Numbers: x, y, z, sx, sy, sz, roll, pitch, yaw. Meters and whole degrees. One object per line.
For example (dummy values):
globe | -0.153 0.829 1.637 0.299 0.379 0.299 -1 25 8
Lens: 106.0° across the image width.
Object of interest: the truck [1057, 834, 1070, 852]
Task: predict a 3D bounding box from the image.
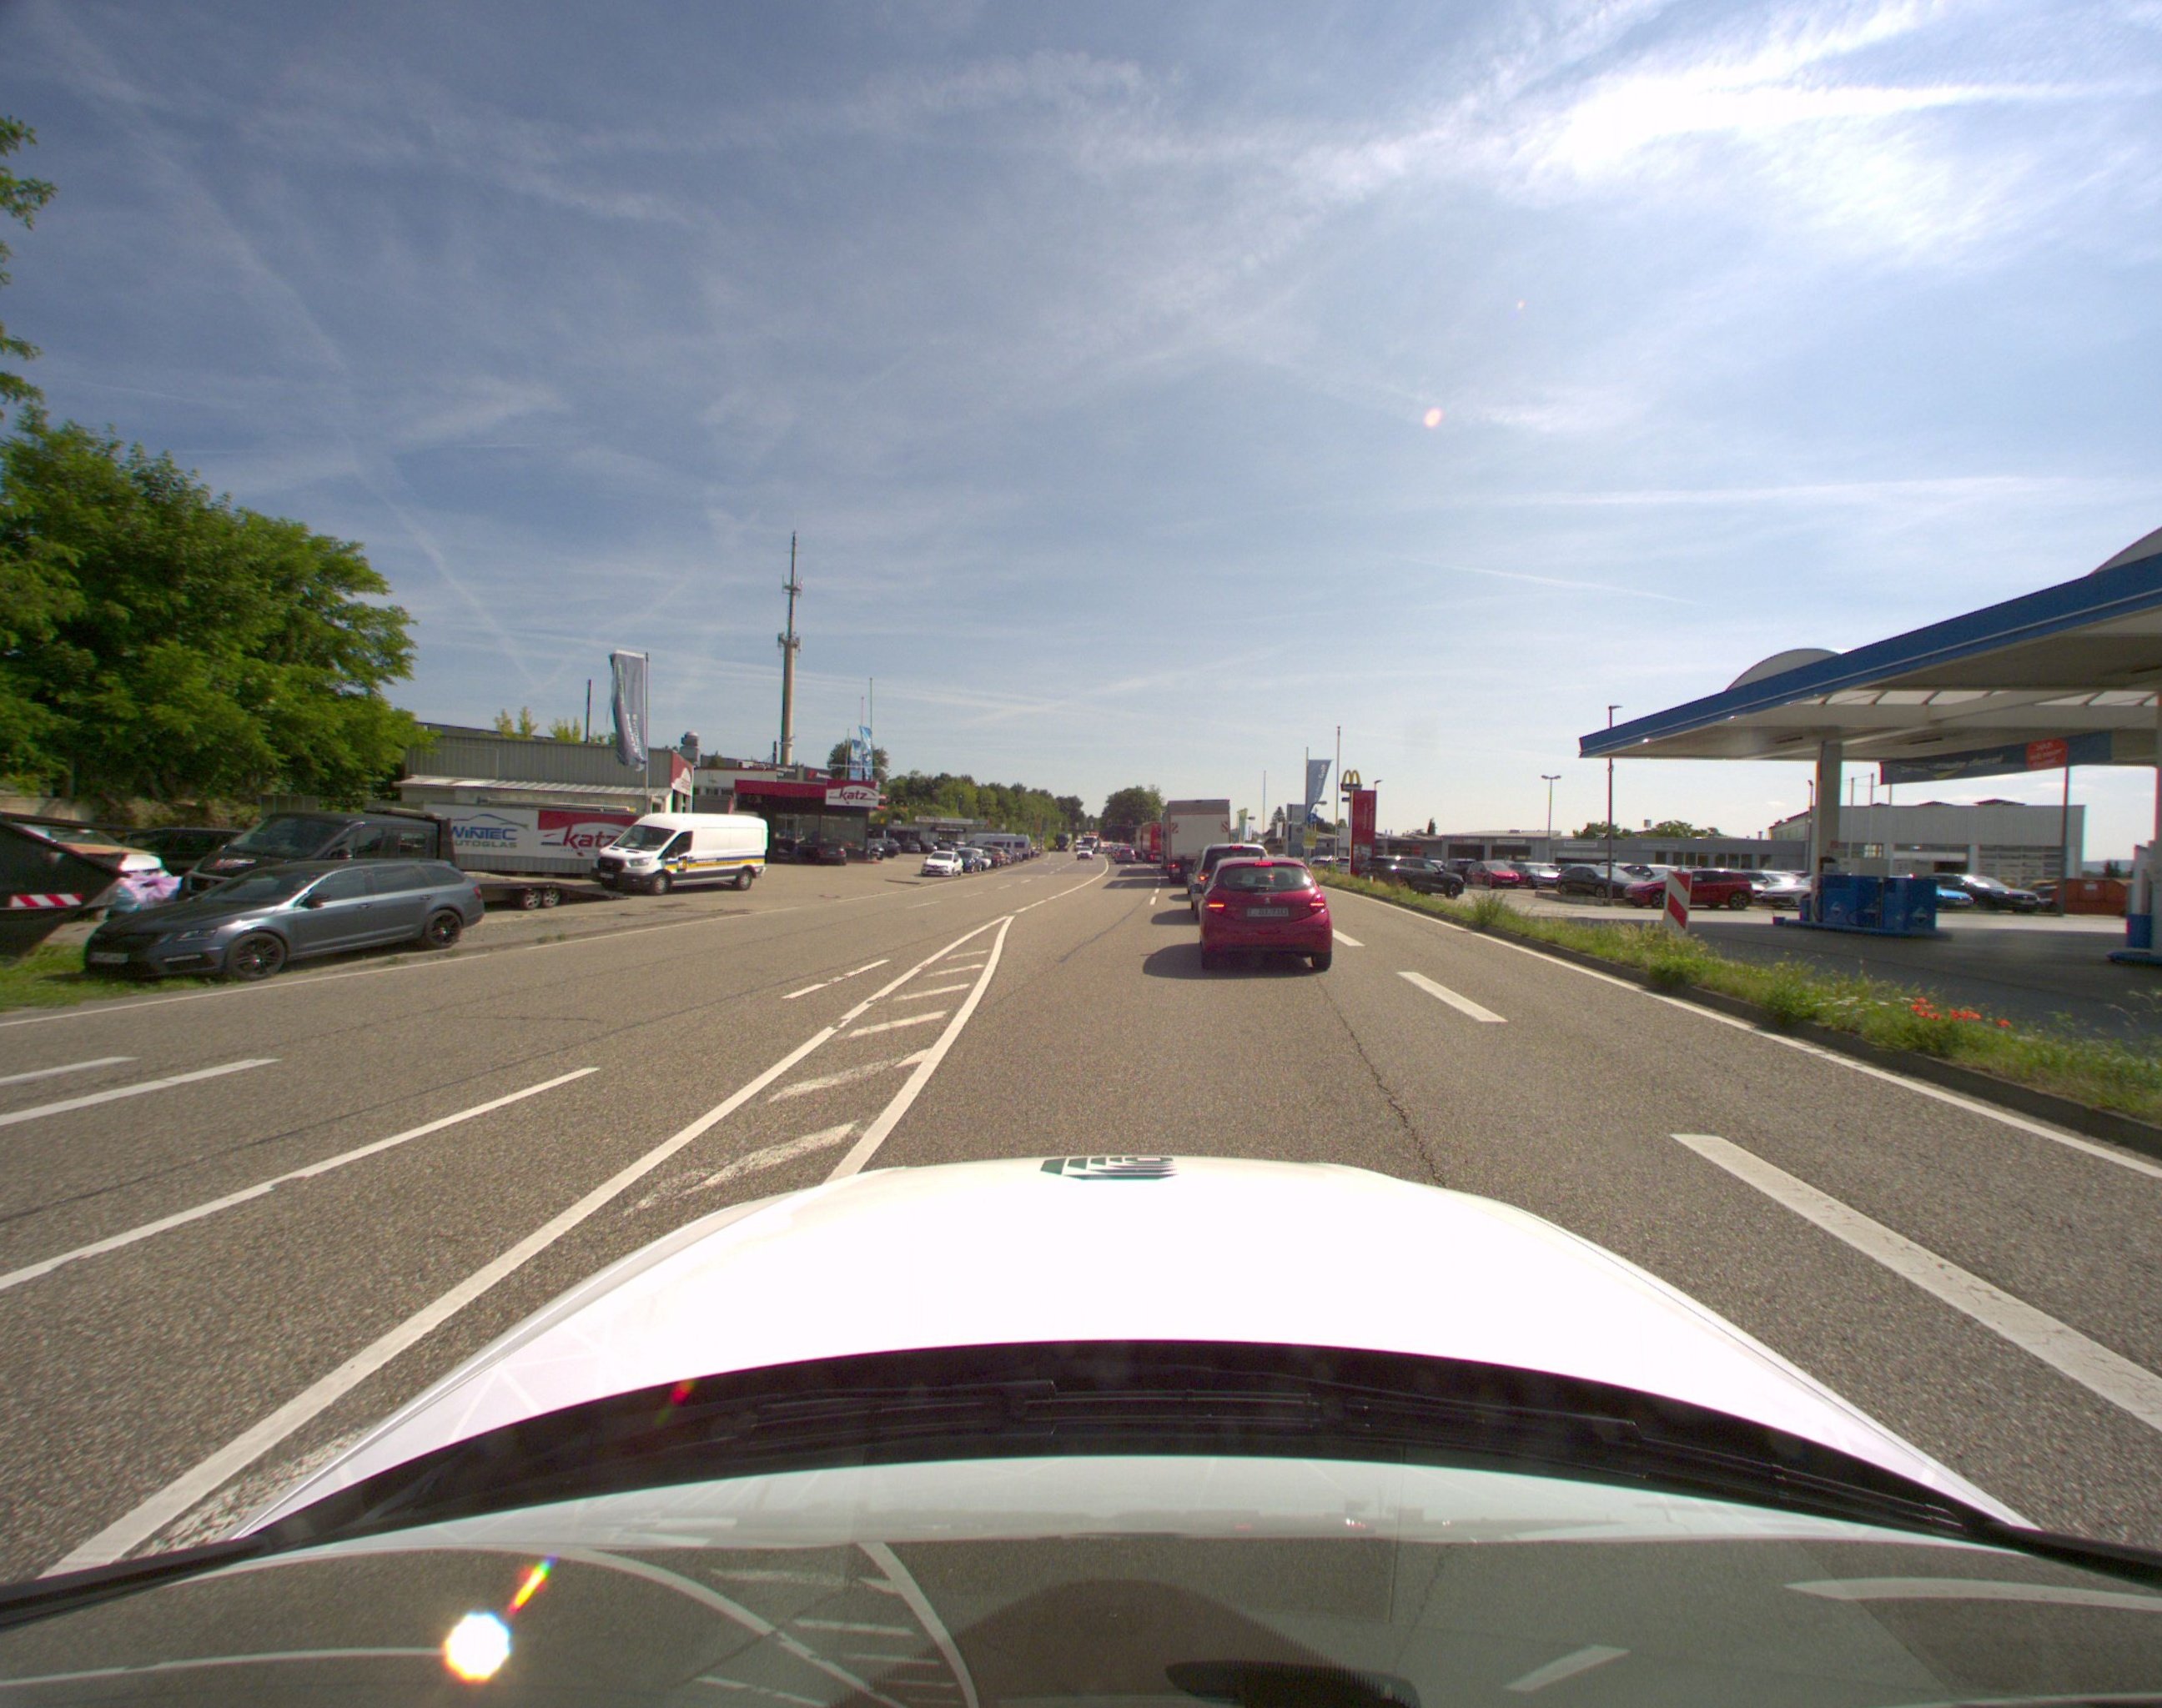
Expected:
truck | -3.794 -2.321 174.778 2.806 3.786 6.984 -1 1 -2

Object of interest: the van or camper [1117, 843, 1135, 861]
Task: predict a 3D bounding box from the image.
van or camper | 4.997 -0.258 91.396 1.846 1.905 3.786 1 1 1

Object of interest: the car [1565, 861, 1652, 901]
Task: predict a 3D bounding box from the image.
car | 23.280 1.155 36.105 1.606 1.594 3.866 -1 0 5

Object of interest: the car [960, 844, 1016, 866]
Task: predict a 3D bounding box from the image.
car | -7.945 0.062 69.740 4.445 1.484 1.772 4 1 0

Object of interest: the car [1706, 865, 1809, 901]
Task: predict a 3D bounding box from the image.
car | 30.100 1.235 36.395 1.606 1.443 3.866 -1 0 5

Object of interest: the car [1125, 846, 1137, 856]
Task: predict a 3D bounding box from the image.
car | 8.014 -0.492 130.973 1.721 1.519 3.313 2 0 1

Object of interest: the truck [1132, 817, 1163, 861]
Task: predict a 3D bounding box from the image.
truck | 8.418 -1.883 105.720 3.051 5.220 17.014 1 1 2

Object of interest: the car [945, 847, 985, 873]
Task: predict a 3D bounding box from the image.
car | -7.665 0.378 54.111 1.771 1.494 3.786 5 1 4

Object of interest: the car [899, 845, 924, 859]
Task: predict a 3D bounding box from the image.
car | -19.985 -0.256 95.879 1.775 1.588 3.791 0 1 -31

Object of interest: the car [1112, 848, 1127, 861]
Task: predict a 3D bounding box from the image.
car | 4.730 0.034 99.955 1.721 1.519 3.313 1 0 1

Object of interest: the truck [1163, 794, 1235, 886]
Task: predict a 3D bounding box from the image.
truck | 5.503 -0.647 39.759 2.865 3.810 11.158 1 1 5

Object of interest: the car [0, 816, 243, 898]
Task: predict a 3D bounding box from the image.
car | -19.050 0.049 15.676 3.665 1.469 1.731 1 0 -15

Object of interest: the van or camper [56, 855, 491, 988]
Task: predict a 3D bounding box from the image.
van or camper | -11.426 0.816 12.096 1.631 1.524 4.477 2 0 7

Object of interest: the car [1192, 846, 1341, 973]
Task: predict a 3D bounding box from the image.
car | 2.564 0.685 11.974 1.791 1.572 3.722 -1 0 8

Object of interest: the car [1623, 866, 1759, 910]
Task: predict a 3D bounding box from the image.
car | 23.717 1.285 31.799 3.880 1.572 1.811 1 0 9

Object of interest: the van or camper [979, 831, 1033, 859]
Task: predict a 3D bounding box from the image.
van or camper | -7.625 -0.938 83.269 5.224 2.731 2.212 1 1 2

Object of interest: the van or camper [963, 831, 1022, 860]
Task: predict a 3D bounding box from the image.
van or camper | -9.280 -0.911 85.732 5.870 2.873 2.291 1 1 1

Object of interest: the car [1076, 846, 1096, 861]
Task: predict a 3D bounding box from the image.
car | 0.623 -0.059 95.970 1.926 1.674 4.005 -1 0 5

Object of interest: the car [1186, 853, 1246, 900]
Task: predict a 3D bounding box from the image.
car | 4.529 0.691 27.821 1.727 1.428 4.231 1 0 5

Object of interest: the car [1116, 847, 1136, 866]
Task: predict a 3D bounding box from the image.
car | 4.182 0.217 75.289 1.782 1.638 3.508 0 0 5

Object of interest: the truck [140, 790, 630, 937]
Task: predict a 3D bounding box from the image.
truck | -14.338 0.127 18.255 2.317 2.296 8.824 5 1 8

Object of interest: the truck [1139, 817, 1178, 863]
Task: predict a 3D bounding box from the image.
truck | 7.848 -1.445 84.887 2.946 4.269 16.591 1 1 2

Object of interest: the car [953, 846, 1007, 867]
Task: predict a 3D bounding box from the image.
car | -7.399 0.163 59.815 3.696 1.525 1.792 0 1 0

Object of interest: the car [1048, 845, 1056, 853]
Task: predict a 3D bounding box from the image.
car | -7.236 -1.242 204.712 1.989 2.013 3.996 1 0 -3

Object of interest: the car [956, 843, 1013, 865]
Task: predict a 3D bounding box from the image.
car | -7.713 -0.011 65.306 4.263 1.484 1.836 4 1 0

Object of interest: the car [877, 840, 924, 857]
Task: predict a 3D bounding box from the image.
car | -16.534 -0.534 74.598 3.953 1.532 1.756 0 1 -22

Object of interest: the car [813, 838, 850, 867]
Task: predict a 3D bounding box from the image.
car | -15.419 -0.120 50.184 1.860 1.504 4.368 3 2 -20

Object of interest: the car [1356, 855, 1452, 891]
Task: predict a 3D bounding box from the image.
car | 13.452 0.755 33.954 3.595 1.409 1.553 -1 0 -19

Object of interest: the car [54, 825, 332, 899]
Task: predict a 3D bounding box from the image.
car | -18.974 0.184 17.610 3.665 1.469 1.731 1 0 -15

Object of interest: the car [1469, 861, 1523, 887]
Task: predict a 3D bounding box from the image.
car | 24.281 1.141 47.790 1.551 1.409 3.600 -1 0 5

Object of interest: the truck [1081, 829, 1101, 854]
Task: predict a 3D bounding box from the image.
truck | 1.878 -2.281 147.434 2.944 4.209 10.656 -1 1 3

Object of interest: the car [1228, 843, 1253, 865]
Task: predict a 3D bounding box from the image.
car | 13.784 0.010 70.467 1.981 1.750 4.011 1 0 10

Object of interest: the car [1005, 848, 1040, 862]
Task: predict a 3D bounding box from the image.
car | -6.671 0.072 93.188 3.803 1.539 1.843 0 0 0

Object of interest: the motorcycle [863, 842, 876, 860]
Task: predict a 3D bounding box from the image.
motorcycle | -15.339 -0.239 59.084 0.772 1.261 2.042 0 0 -18

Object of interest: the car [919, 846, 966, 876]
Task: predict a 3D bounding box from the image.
car | -7.954 0.357 47.119 1.771 1.618 4.004 1 0 4

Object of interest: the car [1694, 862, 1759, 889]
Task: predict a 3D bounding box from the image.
car | 36.797 1.225 46.527 1.547 1.409 3.703 -1 0 14

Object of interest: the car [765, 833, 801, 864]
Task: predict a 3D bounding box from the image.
car | -17.893 -0.353 48.884 1.860 1.504 3.973 5 1 -21

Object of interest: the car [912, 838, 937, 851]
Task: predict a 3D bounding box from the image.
car | -18.834 -1.162 97.800 1.775 1.588 3.791 0 1 -31

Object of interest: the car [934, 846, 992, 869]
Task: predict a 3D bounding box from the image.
car | -8.287 0.217 57.459 3.783 1.525 1.846 0 1 0

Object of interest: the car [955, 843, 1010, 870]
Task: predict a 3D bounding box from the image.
car | -7.538 0.166 62.464 3.873 1.716 1.806 4 1 0

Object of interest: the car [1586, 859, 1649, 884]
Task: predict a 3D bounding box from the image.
car | 31.743 1.006 48.296 1.551 1.409 3.694 -1 0 5

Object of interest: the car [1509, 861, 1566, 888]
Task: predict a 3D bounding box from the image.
car | 26.447 1.170 47.302 1.551 1.409 3.600 -1 0 5

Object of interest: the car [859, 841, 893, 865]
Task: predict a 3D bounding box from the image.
car | -16.007 -0.068 63.443 1.829 1.675 4.096 6 -3 -23

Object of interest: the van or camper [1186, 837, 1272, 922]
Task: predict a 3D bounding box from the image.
van or camper | 3.501 0.540 20.043 1.737 1.787 5.143 1 0 6

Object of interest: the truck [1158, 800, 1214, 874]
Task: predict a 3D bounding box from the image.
truck | 6.931 -1.052 55.834 2.877 4.265 16.729 1 1 4

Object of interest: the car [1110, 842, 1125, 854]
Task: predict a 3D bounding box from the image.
car | 4.915 -0.817 109.435 1.718 1.519 3.318 1 0 7

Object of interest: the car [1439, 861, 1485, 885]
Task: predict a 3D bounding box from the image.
car | 24.603 1.217 52.755 1.551 1.409 3.600 -1 0 5

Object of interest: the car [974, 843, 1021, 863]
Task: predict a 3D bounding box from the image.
car | -7.431 -0.085 72.549 3.832 1.484 1.802 4 1 0

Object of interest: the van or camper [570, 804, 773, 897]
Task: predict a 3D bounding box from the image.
van or camper | -12.840 -0.128 26.178 2.138 2.498 5.976 5 1 17

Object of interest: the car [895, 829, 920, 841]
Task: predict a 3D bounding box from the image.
car | -23.142 -2.510 108.643 1.745 1.450 3.706 1 0 -39

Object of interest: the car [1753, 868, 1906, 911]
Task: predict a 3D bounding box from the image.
car | 28.845 1.346 31.482 4.308 1.494 1.565 1 0 5

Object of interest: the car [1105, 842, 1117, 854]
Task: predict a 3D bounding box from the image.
car | 4.929 -0.936 132.141 1.719 1.909 3.316 1 0 5

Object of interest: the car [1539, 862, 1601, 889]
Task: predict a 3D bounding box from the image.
car | 28.205 1.210 47.076 1.551 1.409 3.599 -1 0 3

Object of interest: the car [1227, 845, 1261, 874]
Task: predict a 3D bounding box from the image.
car | 10.254 0.350 51.448 1.981 1.750 4.011 1 0 10

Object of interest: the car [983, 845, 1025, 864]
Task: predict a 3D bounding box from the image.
car | -7.336 0.075 77.417 3.696 1.484 1.707 4 1 0

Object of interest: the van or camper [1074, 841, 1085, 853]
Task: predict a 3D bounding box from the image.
van or camper | -0.366 -1.550 172.438 2.165 2.551 4.172 1 1 1

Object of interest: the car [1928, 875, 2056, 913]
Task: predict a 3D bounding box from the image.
car | 38.134 1.636 34.220 1.551 1.409 3.600 -1 0 5

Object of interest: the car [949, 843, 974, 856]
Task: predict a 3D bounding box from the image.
car | -14.771 -0.591 100.715 1.775 1.588 3.791 0 1 -31

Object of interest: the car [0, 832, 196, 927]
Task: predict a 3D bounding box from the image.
car | -18.123 0.397 14.010 3.654 1.510 1.714 1 0 -6

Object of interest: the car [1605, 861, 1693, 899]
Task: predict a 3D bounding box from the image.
car | 25.648 1.125 36.937 1.551 1.594 3.866 -1 0 5
